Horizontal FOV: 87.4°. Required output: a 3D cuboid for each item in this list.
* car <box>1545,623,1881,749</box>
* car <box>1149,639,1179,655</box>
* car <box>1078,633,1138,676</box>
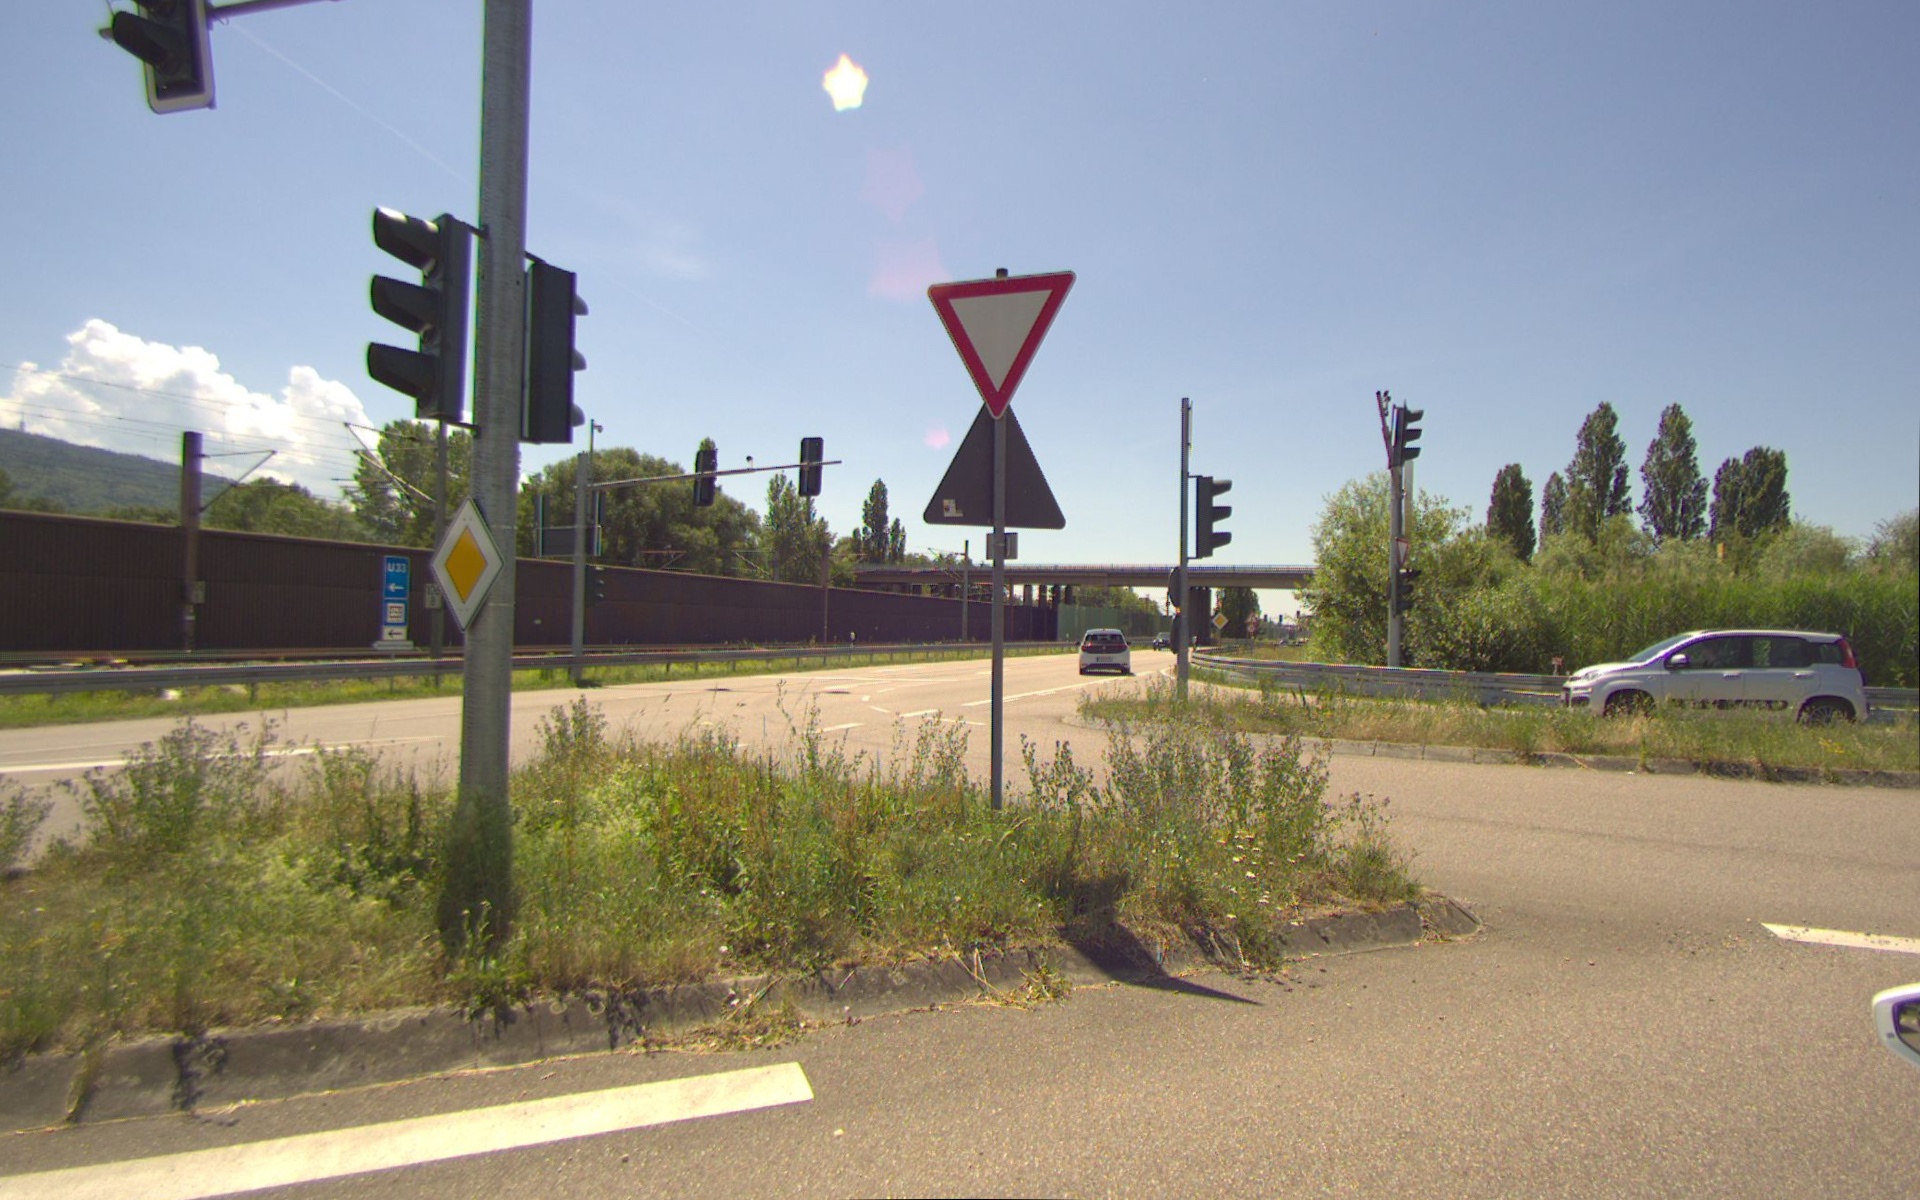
[{"bbox_3d":[10.912,1.189,14.897,3.647,1.653,1.734,0,-2,23],"label":"car"},{"bbox_3d":[18.530,4.247,91.189,1.961,1.416,4.406,0,-2,21],"label":"car"},{"bbox_3d":[5.250,1.881,35.476,1.959,1.416,4.410,0,-2,9],"label":"car"}]
